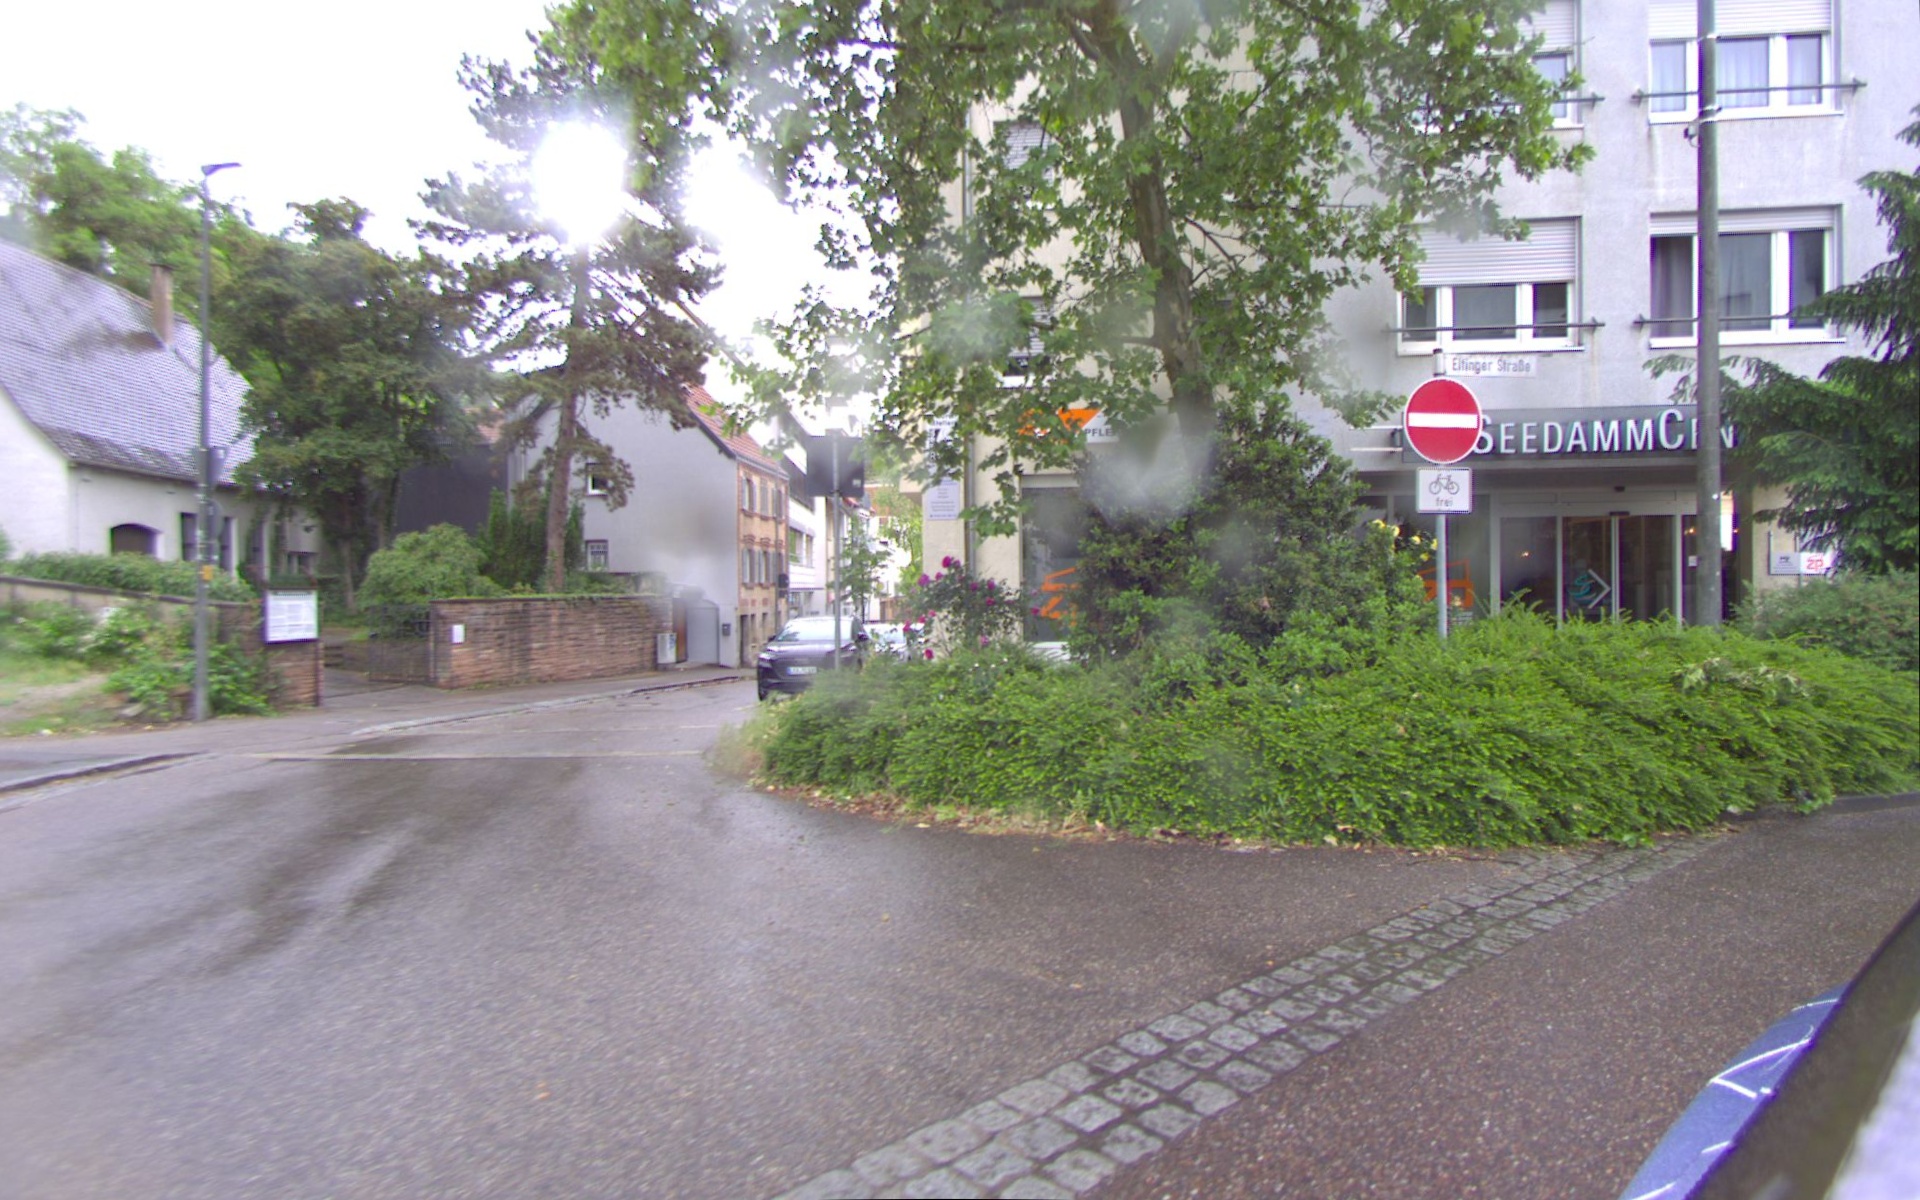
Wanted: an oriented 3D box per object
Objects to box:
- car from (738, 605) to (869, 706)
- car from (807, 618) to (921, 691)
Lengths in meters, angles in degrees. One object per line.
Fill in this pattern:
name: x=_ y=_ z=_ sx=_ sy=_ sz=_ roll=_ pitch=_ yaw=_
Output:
car: x=-2.831 y=0.970 z=19.106 sx=1.961 sy=1.672 sz=4.000 roll=-1 pitch=-1 yaw=-2
car: x=-2.220 y=1.256 z=24.500 sx=1.966 sy=1.594 sz=3.991 roll=1 pitch=-1 yaw=7
